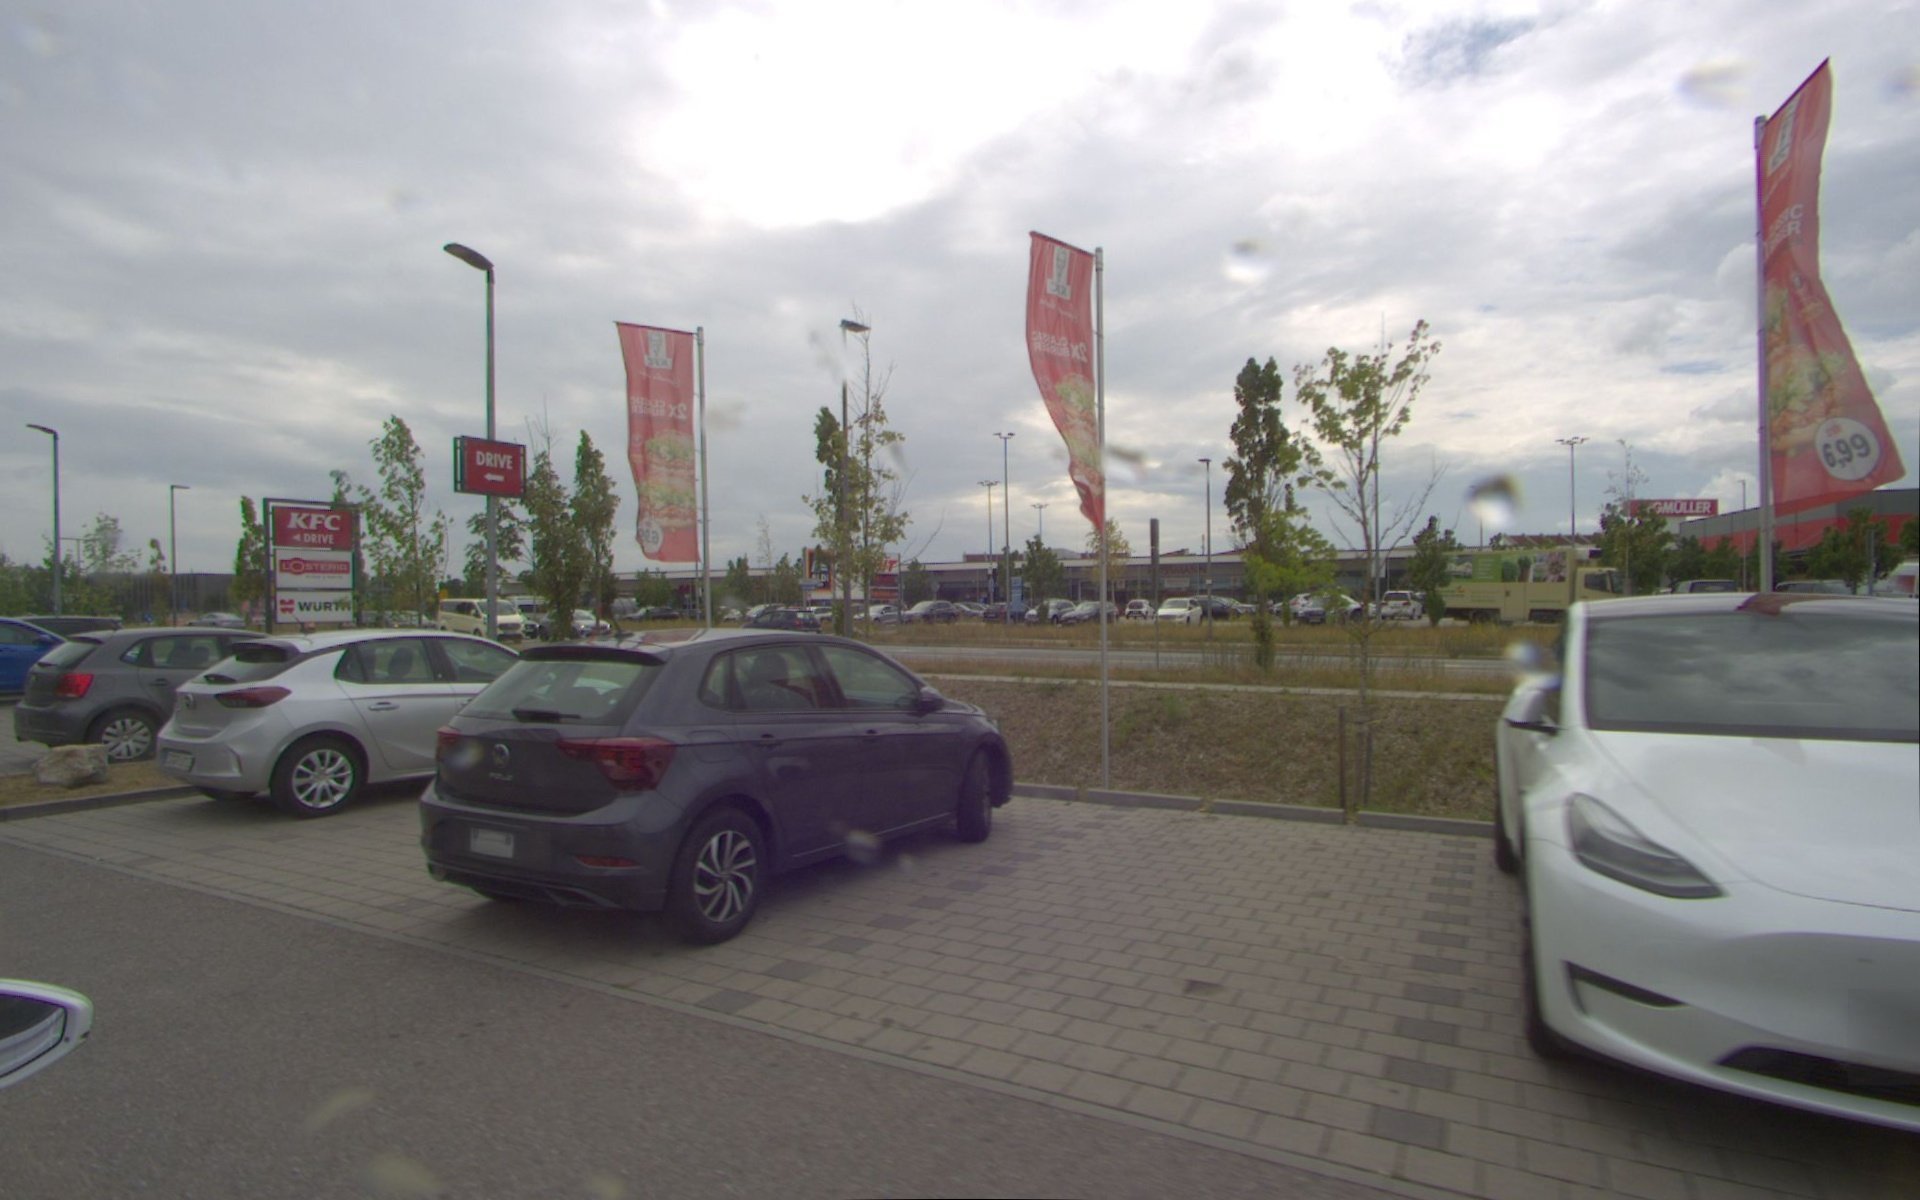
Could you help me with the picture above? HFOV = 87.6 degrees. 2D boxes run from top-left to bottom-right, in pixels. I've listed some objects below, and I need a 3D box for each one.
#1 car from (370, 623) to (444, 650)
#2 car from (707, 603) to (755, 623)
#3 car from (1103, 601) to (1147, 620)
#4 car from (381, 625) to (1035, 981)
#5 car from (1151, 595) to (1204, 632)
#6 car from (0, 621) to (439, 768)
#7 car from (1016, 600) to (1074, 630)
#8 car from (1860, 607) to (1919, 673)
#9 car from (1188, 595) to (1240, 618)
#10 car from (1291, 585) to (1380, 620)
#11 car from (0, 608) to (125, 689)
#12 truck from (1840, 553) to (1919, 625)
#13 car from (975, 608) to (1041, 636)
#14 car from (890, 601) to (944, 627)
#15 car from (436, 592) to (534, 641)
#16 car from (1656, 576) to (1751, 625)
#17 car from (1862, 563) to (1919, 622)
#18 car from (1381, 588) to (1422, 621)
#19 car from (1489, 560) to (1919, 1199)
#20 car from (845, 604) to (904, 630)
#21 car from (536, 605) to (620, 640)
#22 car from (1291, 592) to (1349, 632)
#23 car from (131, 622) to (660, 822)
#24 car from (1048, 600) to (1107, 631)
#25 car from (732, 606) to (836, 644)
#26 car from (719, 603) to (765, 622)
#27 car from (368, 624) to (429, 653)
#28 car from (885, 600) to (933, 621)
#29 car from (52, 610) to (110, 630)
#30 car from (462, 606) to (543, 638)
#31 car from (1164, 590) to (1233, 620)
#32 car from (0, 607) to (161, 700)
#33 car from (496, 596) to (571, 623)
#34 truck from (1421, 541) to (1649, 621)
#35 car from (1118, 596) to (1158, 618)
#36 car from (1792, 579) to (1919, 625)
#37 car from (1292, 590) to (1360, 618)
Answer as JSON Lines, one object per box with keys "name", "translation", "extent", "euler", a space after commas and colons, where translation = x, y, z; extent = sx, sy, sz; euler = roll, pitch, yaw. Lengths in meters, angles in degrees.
{"name": "car", "translation": [-30.432, 1.970, 55.066], "extent": [4.158, 1.413, 1.759], "euler": [-1, 0, 32]}
{"name": "car", "translation": [-22.369, 1.305, 97.705], "extent": [4.111, 1.863, 1.996], "euler": [0, 1, 18]}
{"name": "car", "translation": [16.837, 1.096, 102.368], "extent": [4.114, 1.863, 1.995], "euler": [0, 1, 21]}
{"name": "car", "translation": [-1.147, 0.900, 6.121], "extent": [1.713, 1.430, 3.792], "euler": [0, -2, 31]}
{"name": "car", "translation": [11.450, 0.695, 52.456], "extent": [1.966, 1.796, 4.308], "euler": [-1, 1, 22]}
{"name": "car", "translation": [-8.710, 1.008, 12.074], "extent": [1.704, 1.446, 3.978], "euler": [0, -2, 34]}
{"name": "car", "translation": [4.870, 0.851, 57.031], "extent": [1.746, 1.560, 4.034], "euler": [0, 1, 30]}
{"name": "car", "translation": [23.735, 0.917, 23.269], "extent": [3.856, 1.479, 1.655], "euler": [-1, 1, 25]}
{"name": "car", "translation": [21.627, 0.540, 85.250], "extent": [4.114, 1.863, 1.995], "euler": [0, 1, 21]}
{"name": "car", "translation": [19.789, 0.130, 52.799], "extent": [4.252, 1.796, 1.914], "euler": [-1, 1, 27]}
{"name": "car", "translation": [-18.822, 0.929, 19.199], "extent": [1.754, 1.479, 4.045], "euler": [1, 1, 38]}
{"name": "truck", "translation": [52.752, -0.672, 55.561], "extent": [2.608, 3.794, 8.241], "euler": [-1, 1, 16]}
{"name": "car", "translation": [2.994, 1.306, 61.807], "extent": [1.976, 1.560, 4.126], "euler": [0, 1, 40]}
{"name": "car", "translation": [-2.694, 0.862, 63.181], "extent": [1.745, 1.560, 3.747], "euler": [0, 1, 27]}
{"name": "car", "translation": [-21.484, 0.705, 45.181], "extent": [5.167, 2.114, 1.985], "euler": [0, 1, 40]}
{"name": "car", "translation": [30.878, 0.066, 41.786], "extent": [2.043, 1.909, 5.056], "euler": [0, 0, 23]}
{"name": "car", "translation": [37.899, -0.297, 38.559], "extent": [2.373, 2.244, 6.047], "euler": [0, 1, 17]}
{"name": "car", "translation": [25.405, 0.235, 57.569], "extent": [1.968, 1.796, 3.983], "euler": [0, 1, 27]}
{"name": "car", "translation": [3.436, 0.772, 4.322], "extent": [1.895, 1.560, 4.532], "euler": [0, -2, 26]}
{"name": "car", "translation": [-5.538, 1.085, 65.402], "extent": [1.969, 1.560, 4.037], "euler": [-1, 1, 27]}
{"name": "car", "translation": [-17.595, 0.998, 46.037], "extent": [3.949, 1.479, 1.817], "euler": [0, 1, 38]}
{"name": "car", "translation": [17.435, 0.556, 48.361], "extent": [1.903, 1.796, 4.299], "euler": [0, 1, 30]}
{"name": "car", "translation": [-4.951, 0.962, 9.343], "extent": [1.813, 1.430, 3.921], "euler": [0, -2, 31]}
{"name": "car", "translation": [6.540, 0.839, 55.379], "extent": [1.746, 1.560, 4.034], "euler": [0, 1, 30]}
{"name": "car", "translation": [-7.590, 1.038, 43.051], "extent": [4.361, 1.506, 1.918], "euler": [-1, 1, 35]}
{"name": "car", "translation": [-21.905, 1.259, 100.488], "extent": [4.115, 1.863, 1.994], "euler": [0, 1, 22]}
{"name": "car", "translation": [-28.188, 1.903, 50.253], "extent": [3.121, 1.354, 1.457], "euler": [0, 0, 35]}
{"name": "car", "translation": [-4.874, 0.996, 95.852], "extent": [4.114, 1.863, 1.995], "euler": [0, 1, 21]}
{"name": "car", "translation": [-72.338, 1.655, 82.360], "extent": [4.775, 1.573, 1.795], "euler": [-1, 1, 25]}
{"name": "car", "translation": [-22.894, 1.073, 50.081], "extent": [4.227, 1.519, 1.845], "euler": [-1, 0, 35]}
{"name": "car", "translation": [15.257, 0.335, 64.038], "extent": [4.114, 1.863, 1.995], "euler": [0, 1, 21]}
{"name": "car", "translation": [-16.781, 0.910, 17.420], "extent": [1.840, 1.564, 4.188], "euler": [0, -1, 36]}
{"name": "car", "translation": [-36.989, 0.815, 87.039], "extent": [2.310, 2.150, 5.558], "euler": [0, 1, 36]}
{"name": "truck", "translation": [25.256, -0.795, 44.486], "extent": [2.989, 3.239, 8.376], "euler": [-2, 1, -34]}
{"name": "car", "translation": [13.785, 0.510, 77.376], "extent": [1.968, 1.560, 4.144], "euler": [-1, 1, 26]}
{"name": "car", "translation": [35.168, 0.037, 39.315], "extent": [2.040, 1.661, 5.060], "euler": [0, 1, 18]}
{"name": "car", "translation": [24.602, 0.288, 67.445], "extent": [4.245, 1.796, 1.995], "euler": [-1, 1, 20]}
